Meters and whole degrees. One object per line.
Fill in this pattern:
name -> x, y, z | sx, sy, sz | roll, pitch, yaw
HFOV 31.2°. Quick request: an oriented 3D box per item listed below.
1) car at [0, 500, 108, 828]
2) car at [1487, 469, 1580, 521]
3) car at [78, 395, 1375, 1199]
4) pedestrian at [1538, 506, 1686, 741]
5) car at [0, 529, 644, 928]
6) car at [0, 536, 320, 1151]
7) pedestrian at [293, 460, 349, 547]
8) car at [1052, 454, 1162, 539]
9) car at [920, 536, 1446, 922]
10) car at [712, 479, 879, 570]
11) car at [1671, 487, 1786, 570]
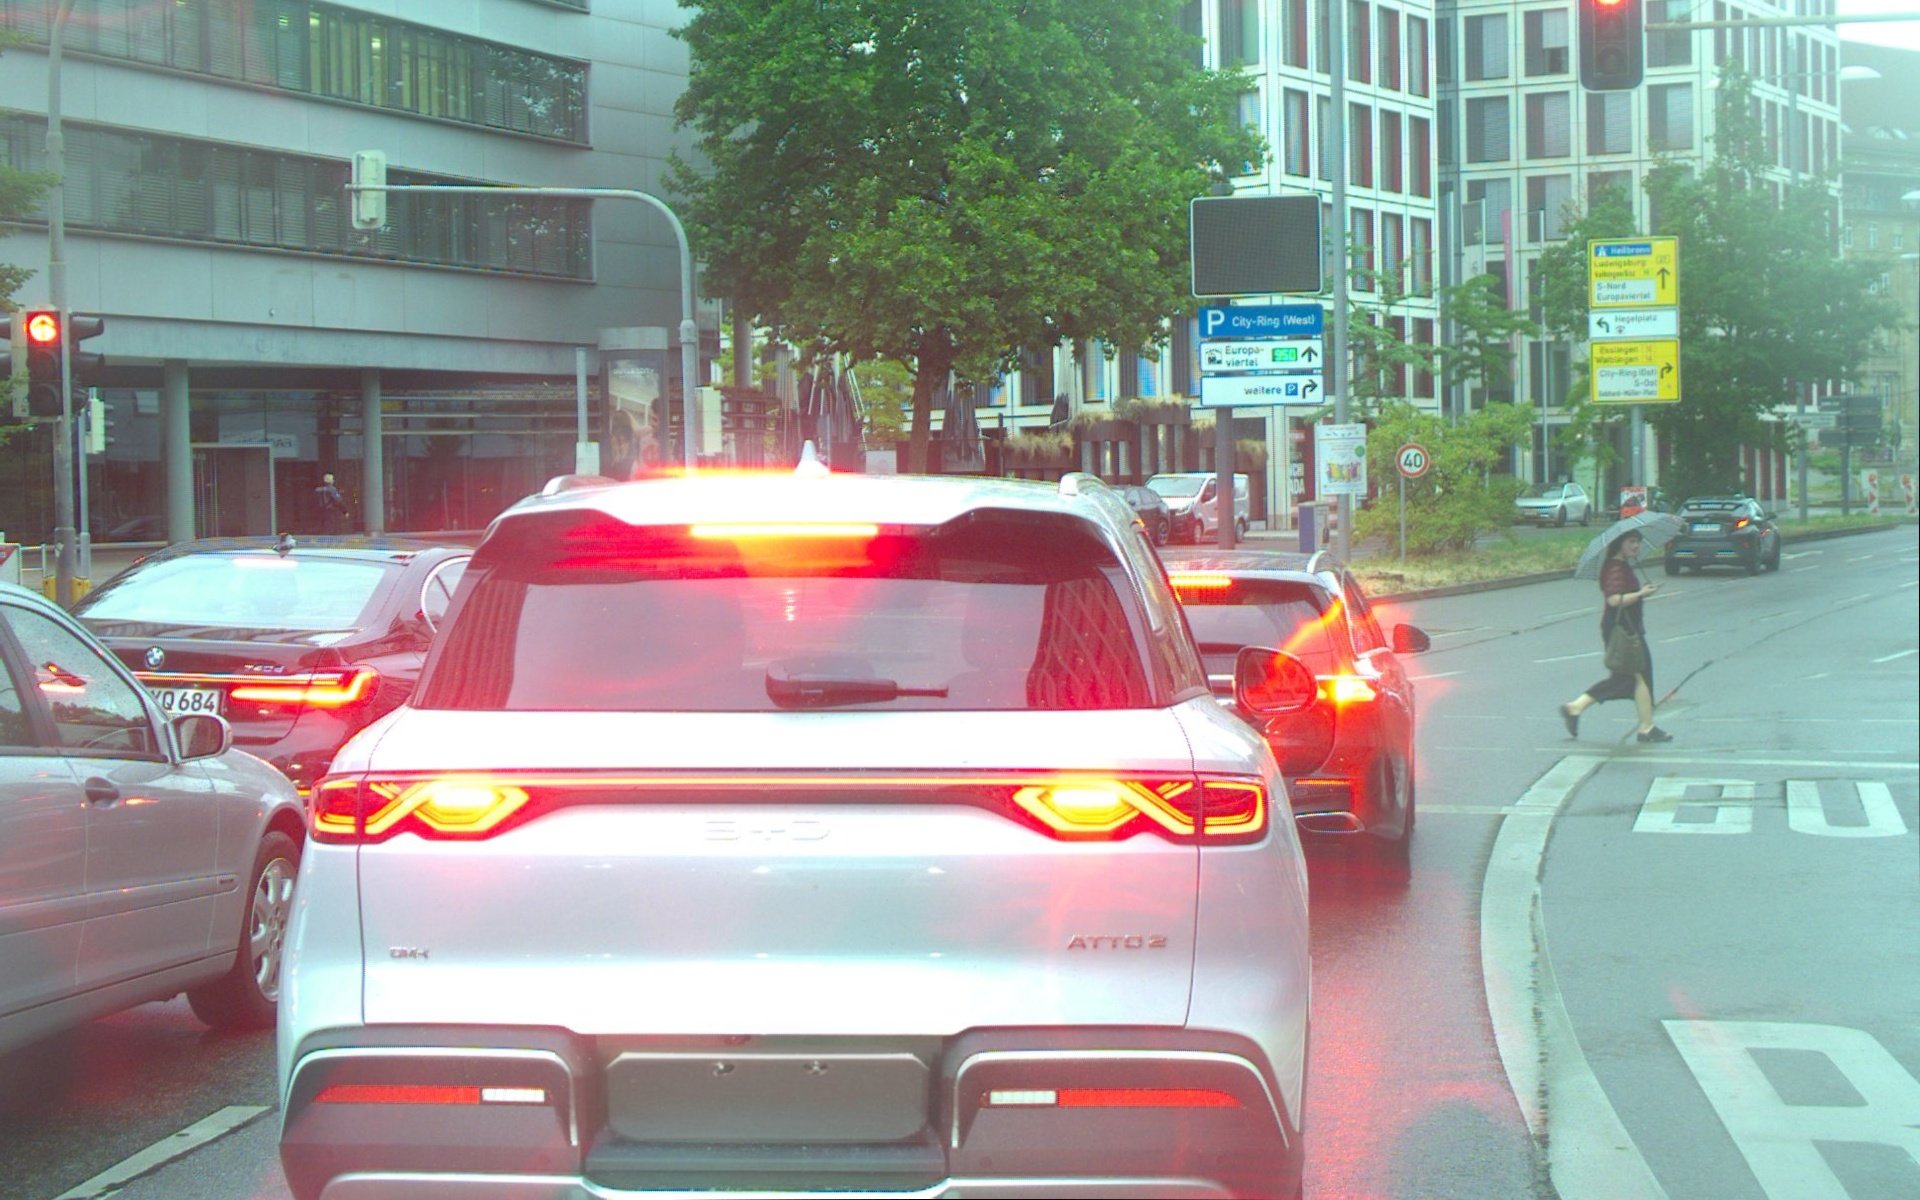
car -> -5.730, 0.320, 16.025 | 1.886, 1.590, 3.998 | 0, 1, 12
car -> 19.959, -3.663, 119.524 | 1.996, 1.700, 4.303 | 1, 3, 27
car -> -0.295, 0.489, 7.567 | 1.993, 1.703, 4.483 | -1, 2, 2
pedestrian -> 4.896, 0.166, 25.853 | 0.921, 1.732, 0.730 | 0, 1, -5
car -> -2.907, 0.451, 15.393 | 1.956, 1.525, 3.998 | 0, 1, 11
car -> -3.120, 0.590, 8.984 | 1.682, 1.481, 4.196 | 0, 1, 6
pedestrian -> -12.777, -1.915, 68.737 | 0.728, 1.721, 0.924 | 0, 1, 21
car -> 3.899, -2.696, 90.418 | 1.739, 2.154, 4.490 | 1, 1, 18
car -> 1.167, 0.475, 15.893 | 1.956, 1.525, 3.998 | 0, 1, 11
car -> -3.284, -1.545, 69.351 | 1.995, 1.700, 3.997 | 1, 3, 20
car -> 15.126, -1.416, 67.531 | 1.995, 1.546, 3.997 | 1, 2, 15
